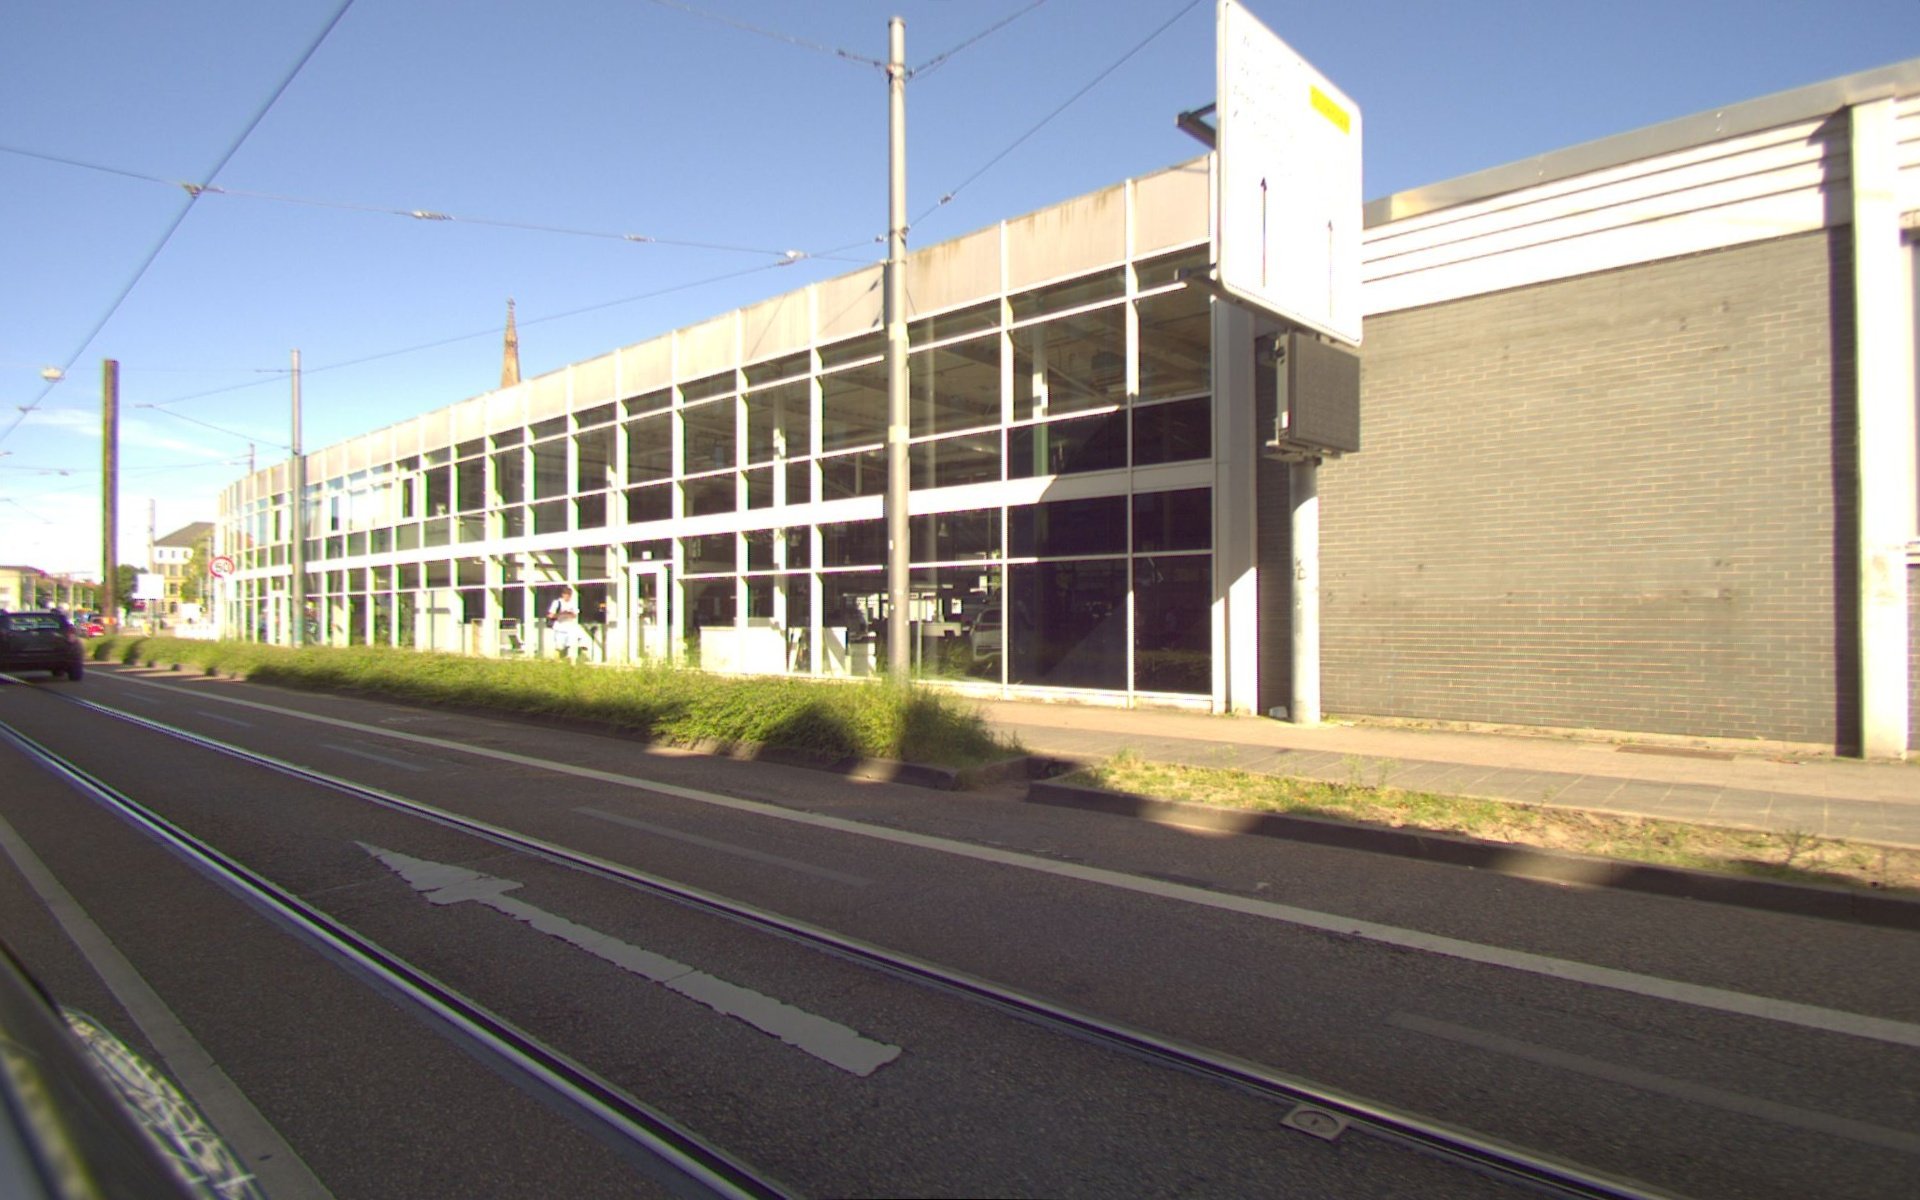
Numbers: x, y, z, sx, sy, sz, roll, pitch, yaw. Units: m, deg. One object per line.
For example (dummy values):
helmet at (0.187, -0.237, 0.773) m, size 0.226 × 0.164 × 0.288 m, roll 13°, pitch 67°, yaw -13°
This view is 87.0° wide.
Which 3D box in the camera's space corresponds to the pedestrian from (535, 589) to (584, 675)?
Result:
pedestrian at (-8.555, 0.665, 21.592) m, size 1.050 × 1.778 × 0.521 m, roll -1°, pitch 1°, yaw 41°

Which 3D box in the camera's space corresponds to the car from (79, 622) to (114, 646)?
car at (-64.838, 2.513, 75.981) m, size 1.777 × 1.732 × 4.421 m, roll 1°, pitch -1°, yaw -43°

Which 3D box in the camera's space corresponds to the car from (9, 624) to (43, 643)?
car at (-82.134, 2.927, 88.999) m, size 4.540 × 1.443 × 1.783 m, roll -1°, pitch 1°, yaw 42°

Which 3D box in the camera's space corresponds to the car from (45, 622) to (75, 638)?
car at (-83.676, 2.808, 94.085) m, size 3.970 × 1.490 × 1.632 m, roll -1°, pitch -2°, yaw 42°

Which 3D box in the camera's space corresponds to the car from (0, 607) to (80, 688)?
car at (-21.921, 1.035, 23.518) m, size 4.143 × 1.709 × 1.740 m, roll -1°, pitch 1°, yaw 43°
